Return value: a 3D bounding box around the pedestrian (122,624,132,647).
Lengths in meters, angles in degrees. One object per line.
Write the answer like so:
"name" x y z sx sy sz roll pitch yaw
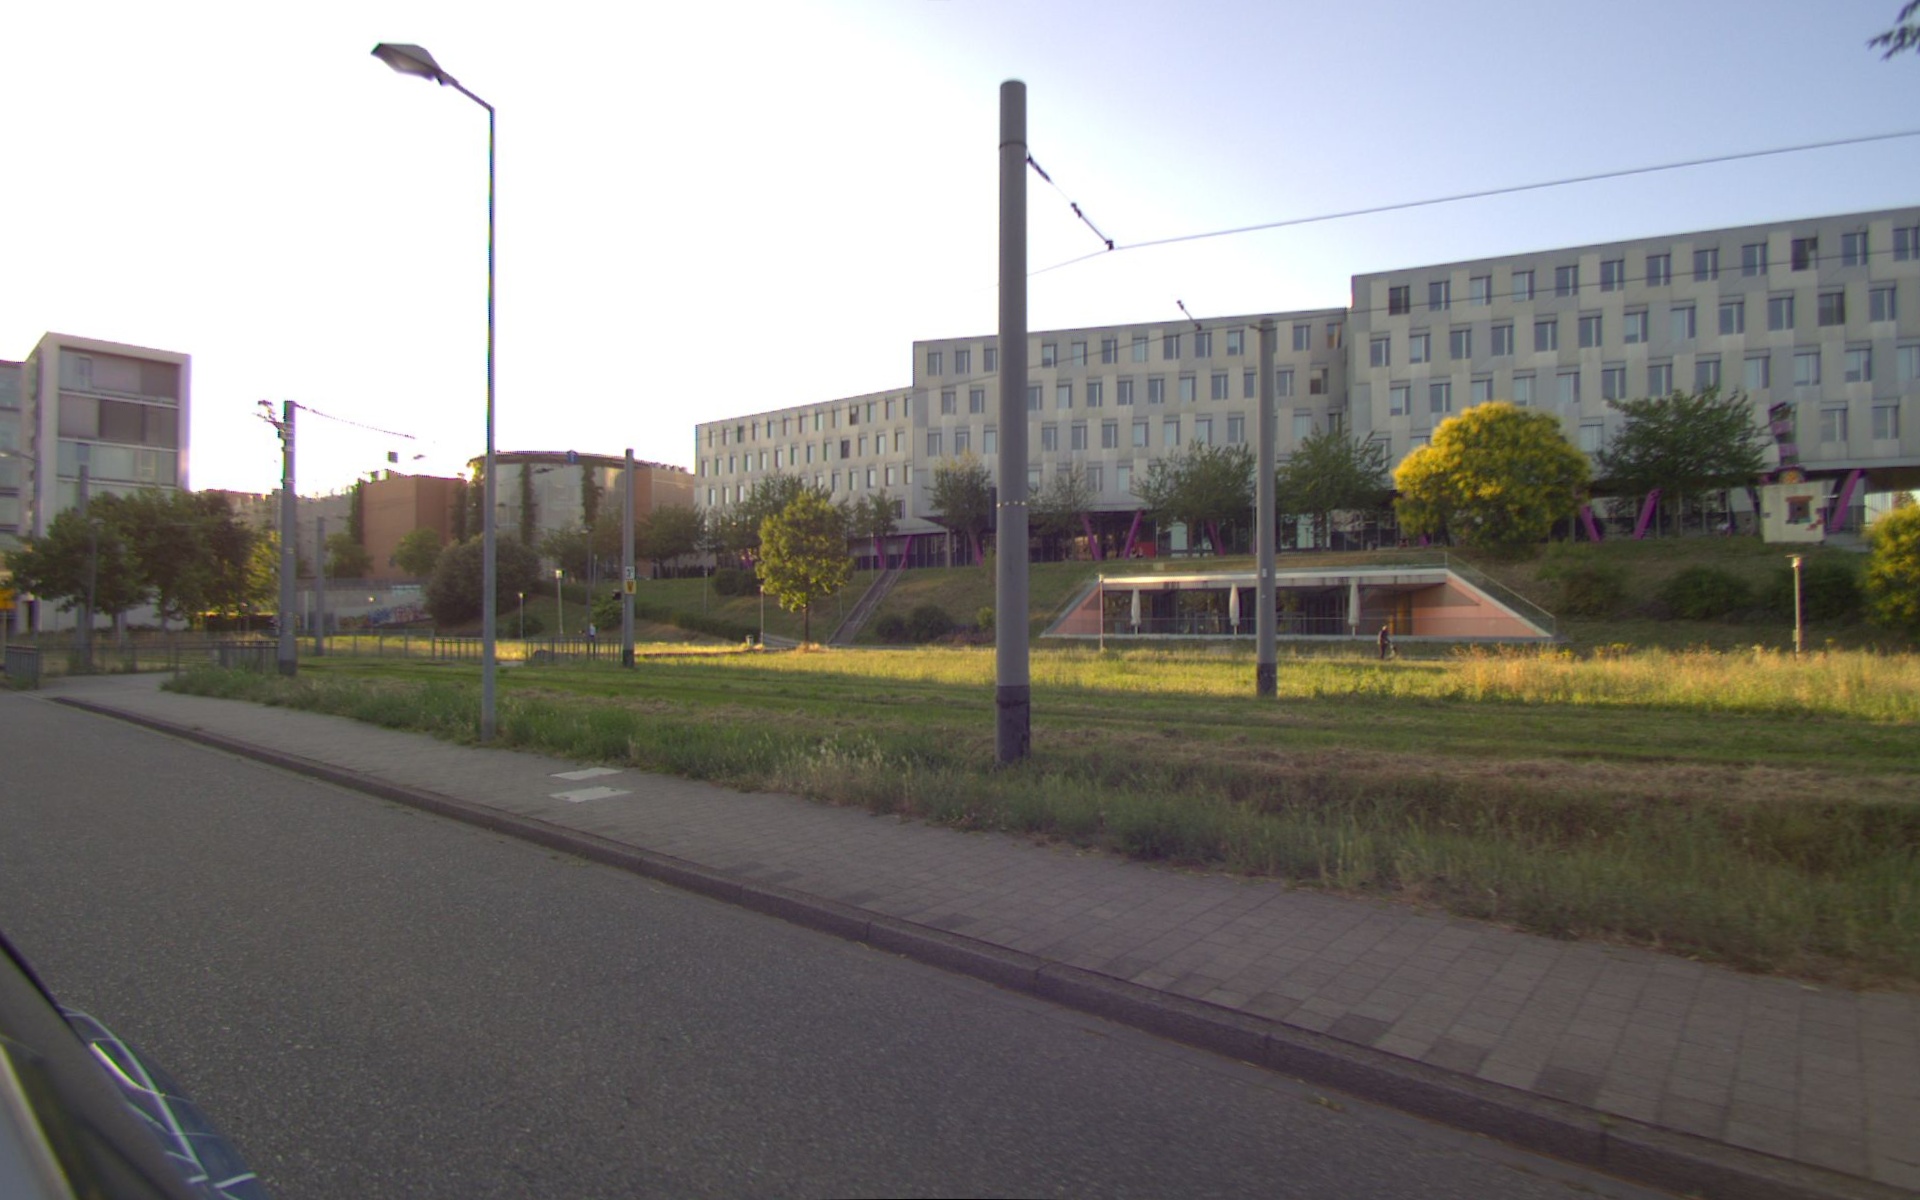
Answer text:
"pedestrian" -65.917 2.798 80.071 0.480 1.850 0.446 -2 0 20

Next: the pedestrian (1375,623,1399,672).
"pedestrian" 18.596 2.043 44.077 0.790 2.098 0.610 -2 0 40

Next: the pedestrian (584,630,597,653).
"pedestrian" -29.716 3.344 81.407 0.790 1.850 0.610 -2 0 40

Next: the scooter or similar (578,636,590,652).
"scooter or similar" -30.441 3.572 81.967 0.790 1.253 0.610 -2 0 40
